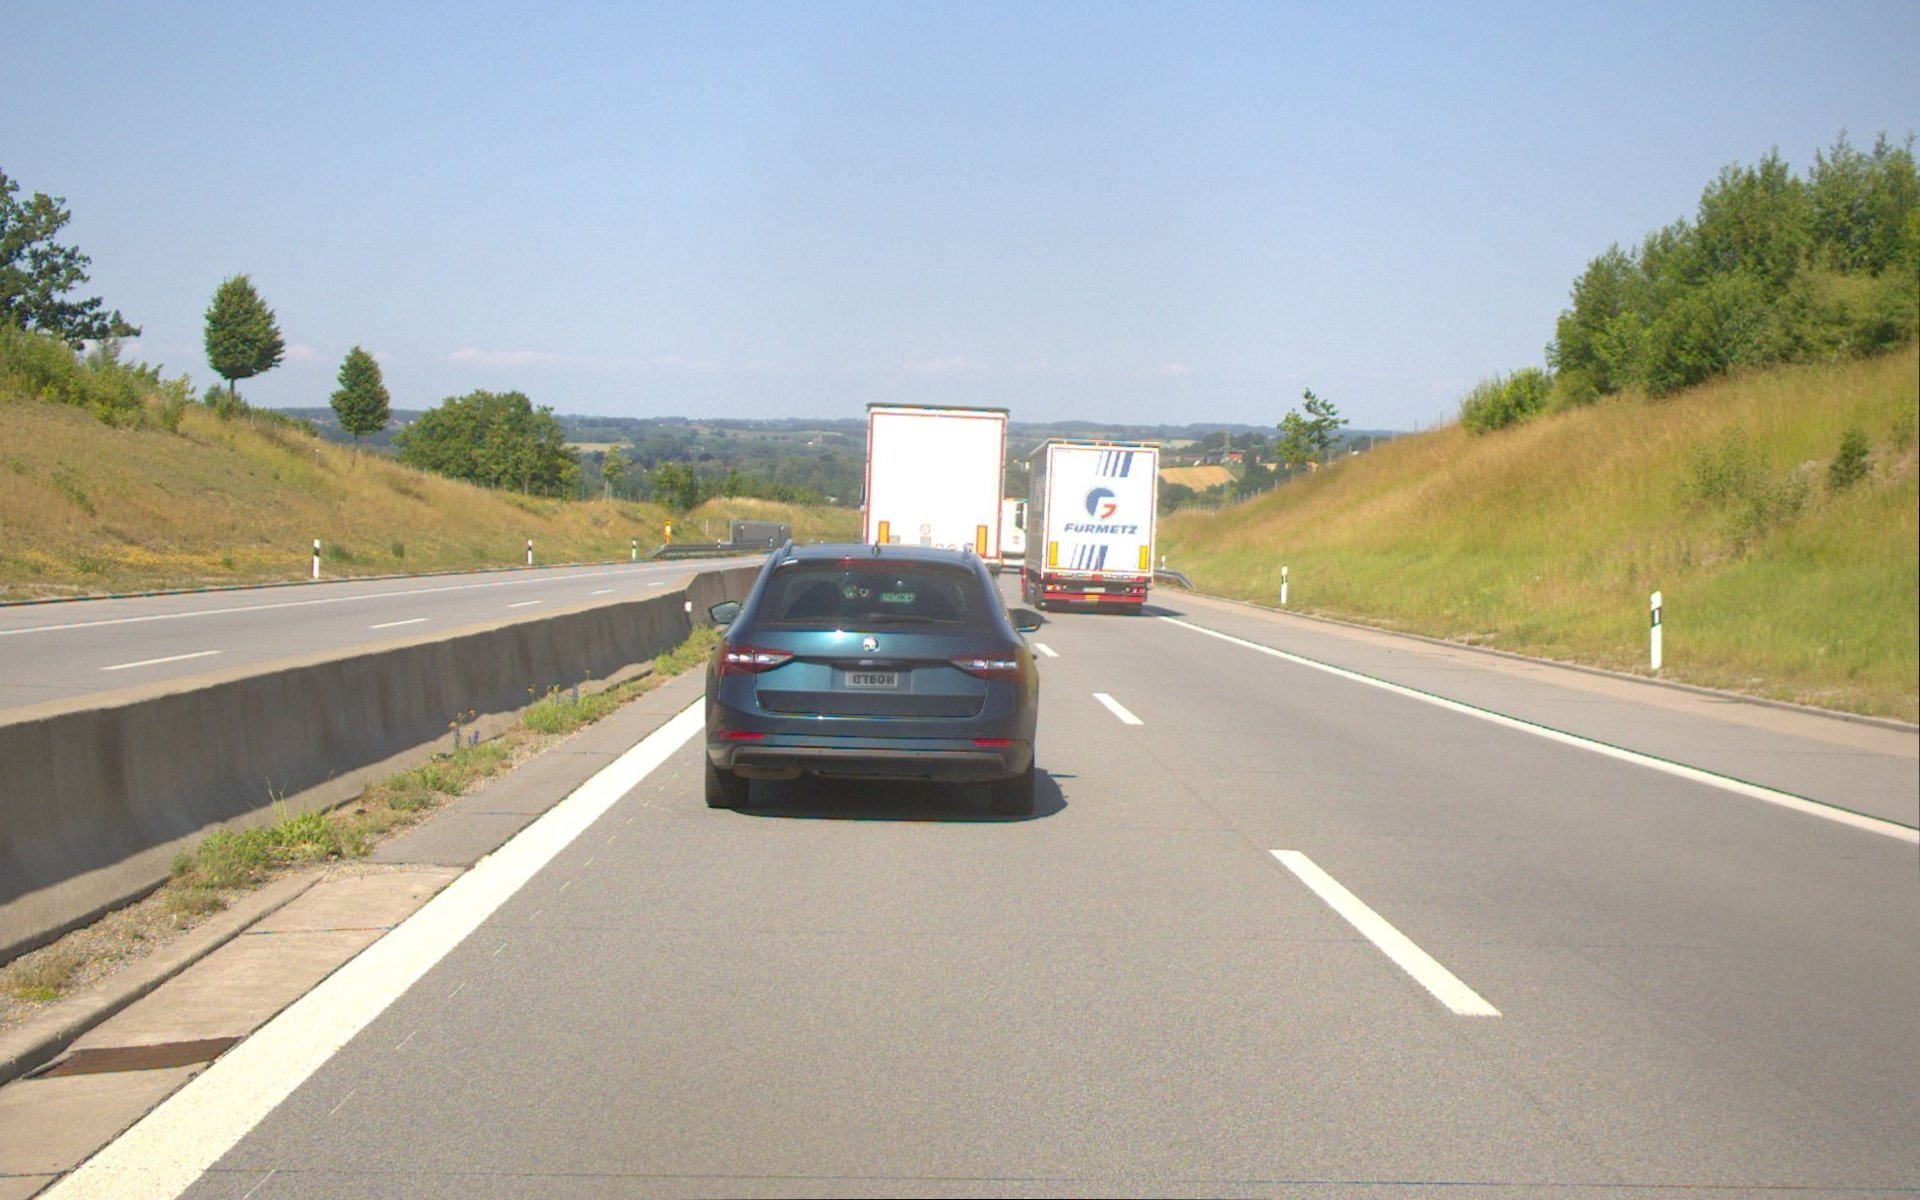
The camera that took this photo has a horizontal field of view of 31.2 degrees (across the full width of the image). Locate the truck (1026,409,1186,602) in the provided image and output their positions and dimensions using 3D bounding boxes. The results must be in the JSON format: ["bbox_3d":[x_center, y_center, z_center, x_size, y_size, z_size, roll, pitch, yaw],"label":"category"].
[{"bbox_3d":[3.530,-2.258,83.443,3.604,4.366,11.233,0,1,2],"label":"truck"}]

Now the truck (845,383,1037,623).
[{"bbox_3d":[-0.221,-1.882,68.228,3.211,4.366,11.233,0,1,3],"label":"truck"}]

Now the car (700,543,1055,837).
[{"bbox_3d":[-0.465,0.429,19.397,1.776,1.436,3.789,1,1,-1],"label":"car"}]

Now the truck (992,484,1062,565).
[{"bbox_3d":[3.756,-4.176,190.012,3.604,4.366,11.233,0,1,2],"label":"truck"}]
